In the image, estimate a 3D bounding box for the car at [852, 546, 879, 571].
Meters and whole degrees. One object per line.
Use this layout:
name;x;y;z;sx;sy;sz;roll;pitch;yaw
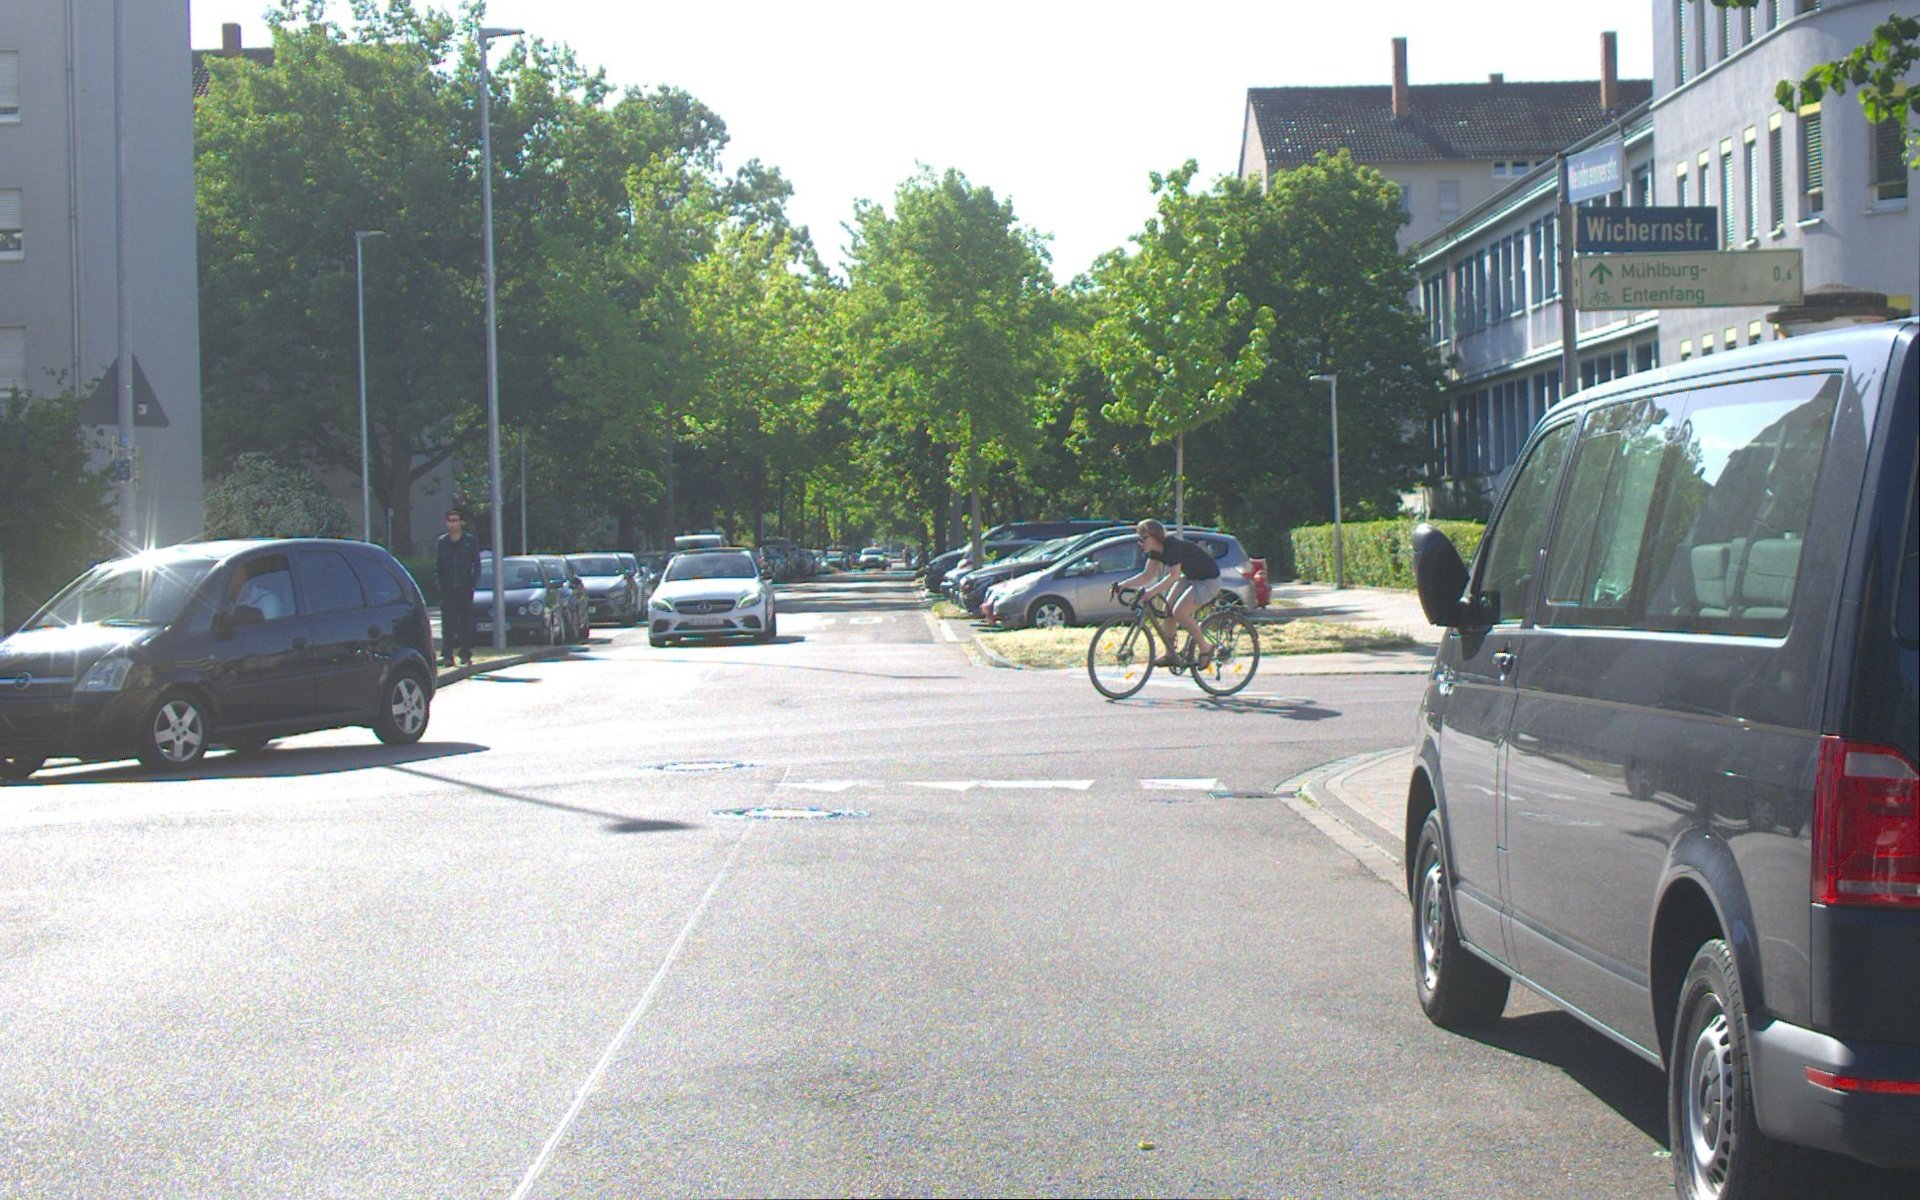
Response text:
car;-6.937;-3.038;252.466;1.993;1.741;4.000;-1;1;-1

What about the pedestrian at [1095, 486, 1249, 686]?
pedestrian;1.768;-0.110;28.727;1.043;1.634;0.692;1;0;-30

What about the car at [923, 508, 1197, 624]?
car;1.599;-0.547;56.031;4.278;1.758;2.000;1;0;-3

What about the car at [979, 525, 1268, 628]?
car;2.384;-0.343;50.811;4.088;1.487;1.729;0;0;-4

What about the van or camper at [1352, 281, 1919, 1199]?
van or camper;2.348;0.370;8.816;1.989;1.856;5.387;1;0;0

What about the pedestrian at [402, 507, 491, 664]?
pedestrian;-5.714;-0.170;38.294;0.870;1.708;0.979;-1;1;-4

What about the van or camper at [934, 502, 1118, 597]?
van or camper;1.449;-1.124;76.617;3.987;2.007;2.000;1;0;-1

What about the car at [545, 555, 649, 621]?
car;-7.098;-0.239;67.555;1.629;1.230;4.193;1;0;-1

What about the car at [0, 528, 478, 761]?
car;-5.440;0.291;24.811;1.740;1.525;4.107;1;0;29

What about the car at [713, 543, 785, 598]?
car;-7.991;-1.104;130.545;1.994;2.007;3.999;1;0;7

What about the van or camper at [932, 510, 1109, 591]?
van or camper;1.376;-1.136;79.329;3.987;1.766;2.000;1;0;-1

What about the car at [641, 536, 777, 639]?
car;-3.916;-0.198;54.232;1.885;1.499;4.638;2;0;-2

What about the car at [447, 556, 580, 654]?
car;-6.761;0.063;52.324;1.667;1.415;4.000;1;0;-3

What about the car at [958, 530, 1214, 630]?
car;2.118;-0.344;58.866;4.203;1.590;2.000;1;0;-2

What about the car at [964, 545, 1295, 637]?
car;2.568;-0.143;52.853;4.869;1.270;1.729;-1;0;-5

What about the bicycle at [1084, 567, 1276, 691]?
bicycle;1.857;0.232;28.780;0.550;1.008;1.914;0;0;41
